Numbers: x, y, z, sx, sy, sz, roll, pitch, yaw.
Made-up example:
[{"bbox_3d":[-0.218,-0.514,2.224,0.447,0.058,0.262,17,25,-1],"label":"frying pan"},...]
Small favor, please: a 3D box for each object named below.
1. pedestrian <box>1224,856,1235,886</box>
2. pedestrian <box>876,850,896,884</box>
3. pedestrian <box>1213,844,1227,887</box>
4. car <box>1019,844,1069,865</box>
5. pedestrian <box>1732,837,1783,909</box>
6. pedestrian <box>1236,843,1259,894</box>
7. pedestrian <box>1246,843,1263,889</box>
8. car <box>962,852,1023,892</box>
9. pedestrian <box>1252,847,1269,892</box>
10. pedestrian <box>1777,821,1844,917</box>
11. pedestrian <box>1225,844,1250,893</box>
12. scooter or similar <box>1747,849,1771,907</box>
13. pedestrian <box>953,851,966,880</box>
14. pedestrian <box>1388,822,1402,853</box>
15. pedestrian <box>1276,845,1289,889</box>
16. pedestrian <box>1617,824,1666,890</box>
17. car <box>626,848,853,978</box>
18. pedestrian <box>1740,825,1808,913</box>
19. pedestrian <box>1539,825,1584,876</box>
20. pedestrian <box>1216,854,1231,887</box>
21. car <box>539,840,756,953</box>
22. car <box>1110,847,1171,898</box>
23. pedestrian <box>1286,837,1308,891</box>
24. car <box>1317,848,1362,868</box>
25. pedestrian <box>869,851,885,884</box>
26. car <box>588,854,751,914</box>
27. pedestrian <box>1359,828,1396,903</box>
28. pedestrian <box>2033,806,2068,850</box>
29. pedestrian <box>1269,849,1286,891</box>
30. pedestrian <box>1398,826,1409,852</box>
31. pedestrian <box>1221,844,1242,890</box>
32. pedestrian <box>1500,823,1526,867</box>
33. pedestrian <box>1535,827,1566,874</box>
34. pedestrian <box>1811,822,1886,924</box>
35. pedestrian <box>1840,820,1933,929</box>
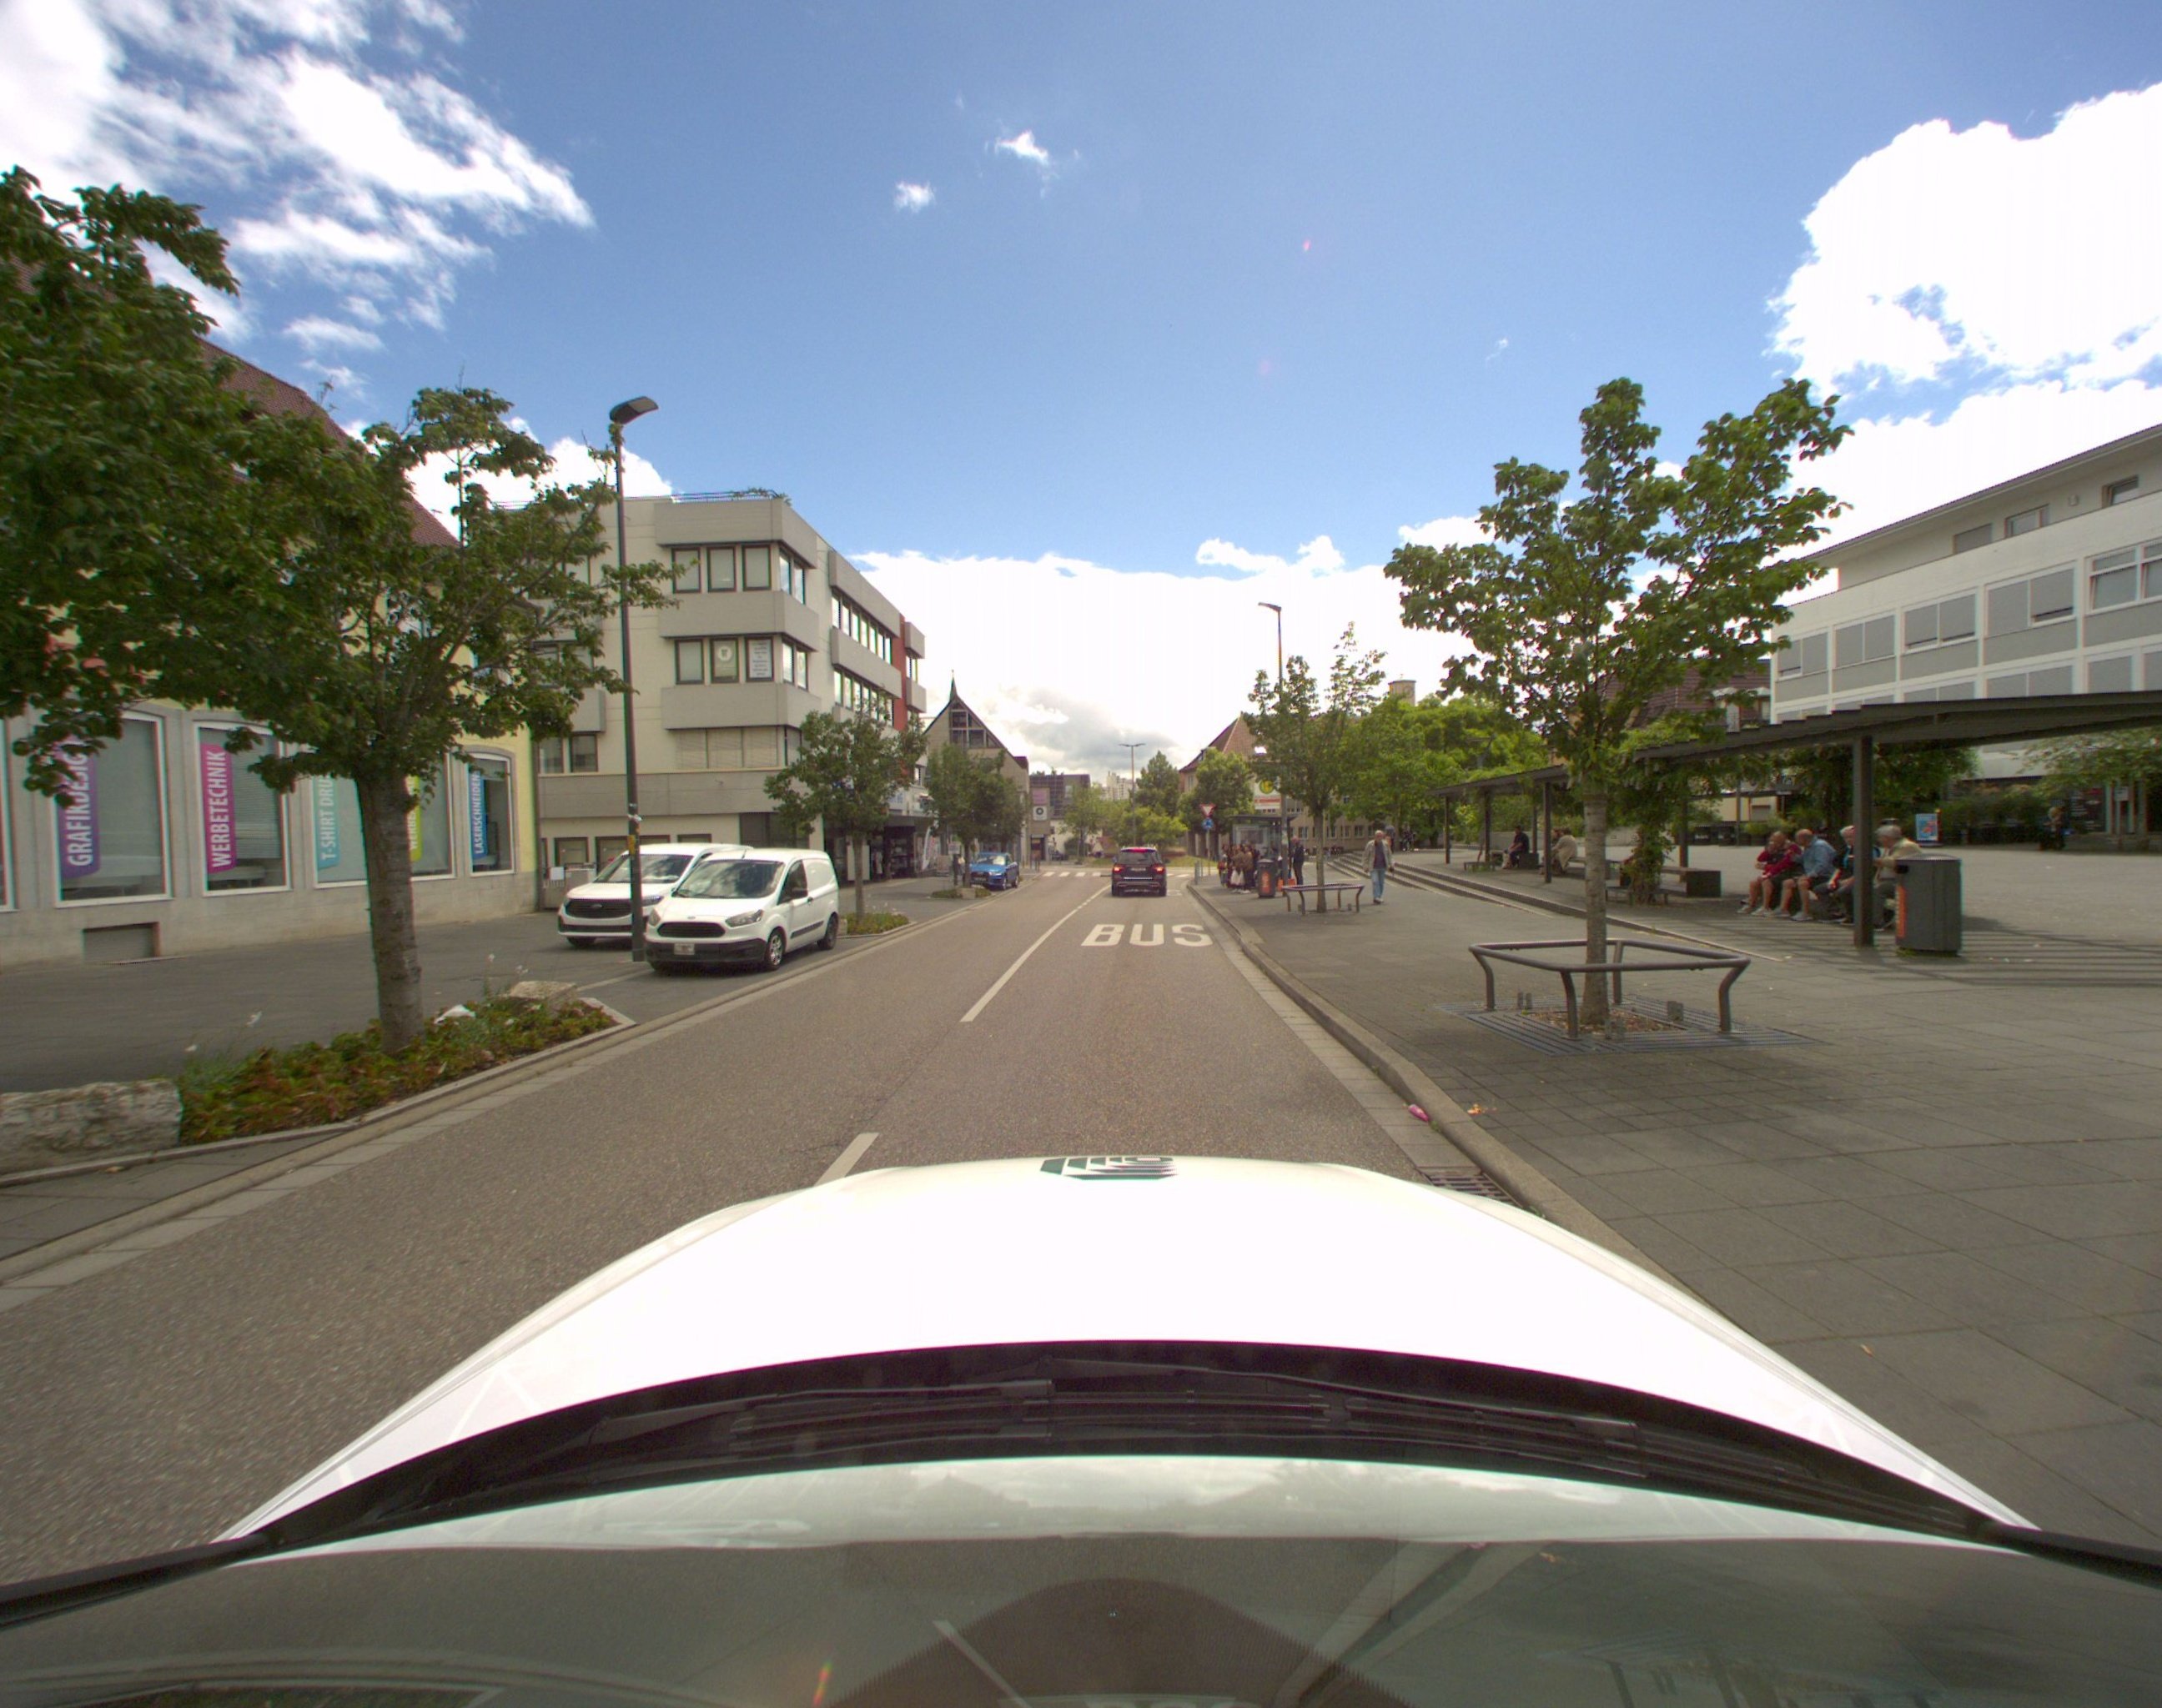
[{"bbox_3d":[5.670,0.649,31.087,0.296,1.152,0.293,-3,0,2],"label":"pedestrian"},{"bbox_3d":[-9.169,0.592,38.347,0.638,1.566,0.589,-3,0,18],"label":"pedestrian"},{"bbox_3d":[5.331,0.441,31.268,0.383,1.620,0.471,-3,0,19],"label":"pedestrian"},{"bbox_3d":[-4.907,0.084,107.436,6.300,2.560,2.193,1,-3,-17],"label":"car"},{"bbox_3d":[10.525,0.286,12.676,0.473,1.088,0.369,-2,2,8],"label":"pedestrian"},{"bbox_3d":[5.212,0.456,25.444,0.508,1.549,0.490,-2,0,30],"label":"pedestrian"},{"bbox_3d":[6.016,0.402,28.259,0.395,1.566,0.349,-2,0,-24],"label":"pedestrian"},{"bbox_3d":[-3.837,0.754,36.003,1.685,1.599,4.339,1,0,6],"label":"car"},{"bbox_3d":[5.844,0.508,26.489,0.376,1.442,0.415,-3,0,-2],"label":"pedestrian"},{"bbox_3d":[10.358,0.201,11.573,0.495,1.320,0.526,-2,2,8],"label":"pedestrian"},{"bbox_3d":[4.995,0.464,25.965,0.489,1.549,0.537,-2,0,-42],"label":"pedestrian"},{"bbox_3d":[10.877,0.382,13.070,0.246,0.894,0.510,-1,2,34],"label":"scooter or similar"},{"bbox_3d":[-6.850,0.648,46.028,0.584,1.588,0.639,0,0,5],"label":"pedestrian"},{"bbox_3d":[15.669,-0.825,40.635,0.502,1.508,0.453,-2,0,-8],"label":"pedestrian"},{"bbox_3d":[6.837,0.448,27.611,0.274,1.458,0.319,-2,0,-10],"label":"pedestrian"},{"bbox_3d":[11.580,0.057,16.831,0.620,1.307,0.547,-2,0,8],"label":"pedestrian"},{"bbox_3d":[-5.014,0.763,12.679,1.651,1.672,4.351,0,0,1],"label":"car"},{"bbox_3d":[10.379,0.212,12.206,0.565,1.262,0.543,-2,2,8],"label":"pedestrian"},{"bbox_3d":[12.346,-0.085,20.910,0.679,1.269,0.763,-1,0,-33],"label":"pedestrian"},{"bbox_3d":[5.383,0.634,30.726,0.399,1.226,0.390,-2,0,26],"label":"pedestrian"},{"bbox_3d":[-7.869,0.688,15.354,1.751,1.814,4.474,0,0,-1],"label":"car"},{"bbox_3d":[2.096,0.704,29.910,2.020,1.727,4.433,0,-2,1],"label":"car"},{"bbox_3d":[6.778,0.313,25.620,0.509,1.680,0.577,-2,0,4],"label":"pedestrian"},{"bbox_3d":[19.329,0.267,60.830,3.858,1.383,1.594,-1,0,-45],"label":"car"},{"bbox_3d":[-9.778,0.648,39.022,0.507,1.566,0.587,-3,0,5],"label":"pedestrian"},{"bbox_3d":[-11.261,0.792,22.459,3.619,1.558,1.667,-1,0,-3],"label":"car"},{"bbox_3d":[6.854,0.259,18.852,0.679,1.682,0.717,-2,0,14],"label":"pedestrian"},{"bbox_3d":[29.744,-0.786,24.989,0.570,1.323,0.541,-1,0,-22],"label":"pedestrian"},{"bbox_3d":[6.197,0.496,25.667,0.387,1.306,0.355,-4,0,5],"label":"pedestrian"},{"bbox_3d":[16.216,-0.751,40.944,0.361,1.285,0.643,-2,0,9],"label":"pedestrian"},{"bbox_3d":[5.211,0.436,28.206,0.502,1.566,0.494,-2,0,-23],"label":"pedestrian"},{"bbox_3d":[13.120,-0.268,24.716,0.563,1.323,0.547,-1,0,13],"label":"pedestrian"},{"bbox_3d":[12.595,-0.100,21.859,0.563,1.227,0.568,-1,0,13],"label":"pedestrian"},{"bbox_3d":[10.327,0.237,10.971,0.492,1.320,0.576,-2,2,7],"label":"pedestrian"},{"bbox_3d":[10.188,0.249,10.316,0.612,1.320,0.587,-2,2,7],"label":"pedestrian"}]
